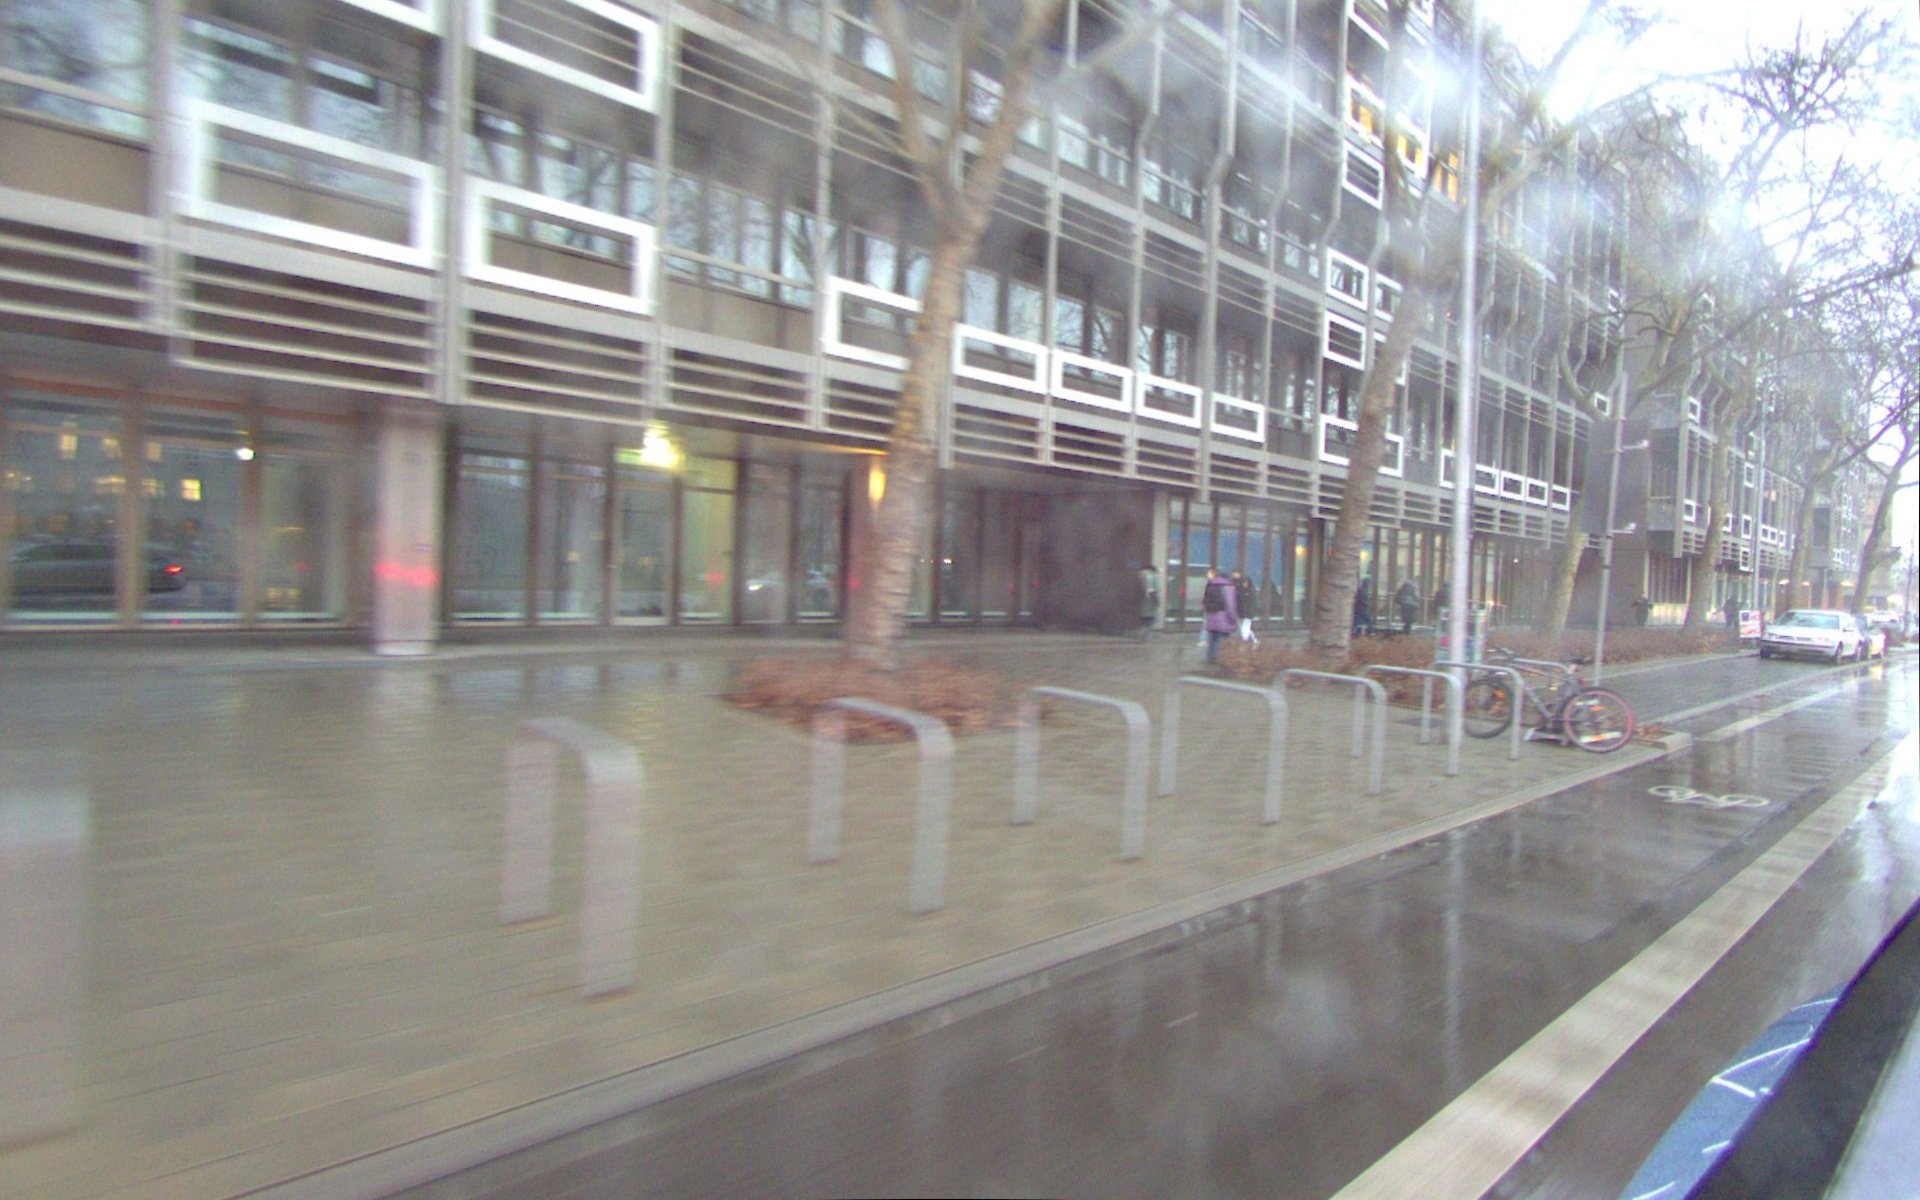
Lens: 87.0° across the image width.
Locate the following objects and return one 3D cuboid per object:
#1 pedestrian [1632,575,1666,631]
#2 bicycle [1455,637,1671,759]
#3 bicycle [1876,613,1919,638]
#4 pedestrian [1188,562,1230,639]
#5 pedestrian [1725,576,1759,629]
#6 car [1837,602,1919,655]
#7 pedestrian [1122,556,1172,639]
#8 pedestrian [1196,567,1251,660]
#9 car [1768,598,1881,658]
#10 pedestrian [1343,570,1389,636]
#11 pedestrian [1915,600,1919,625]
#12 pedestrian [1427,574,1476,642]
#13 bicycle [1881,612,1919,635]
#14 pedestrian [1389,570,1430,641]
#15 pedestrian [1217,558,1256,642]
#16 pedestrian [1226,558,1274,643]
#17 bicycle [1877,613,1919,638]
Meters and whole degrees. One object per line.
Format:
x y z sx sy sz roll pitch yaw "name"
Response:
25.719 0.119 37.780 0.723 2.038 0.821 1 1 -42 "pedestrian"
6.212 0.964 10.512 0.607 0.986 1.789 1 3 -44 "bicycle"
42.921 1.159 46.297 1.518 1.049 0.462 1 1 43 "bicycle"
5.243 0.015 21.275 0.732 1.583 0.484 1 1 -41 "pedestrian"
30.974 0.090 40.079 1.006 2.038 0.790 1 1 -40 "pedestrian"
30.230 0.893 33.074 3.948 1.567 1.763 1 2 -41 "car"
3.897 -0.064 21.091 0.766 1.677 0.617 1 1 -40 "pedestrian"
4.563 0.216 17.513 0.604 1.563 0.649 1 1 -39 "pedestrian"
24.288 0.746 28.387 3.858 1.449 1.609 0 4 -38 "car"
10.494 0.065 26.174 0.825 1.675 0.643 1 1 -22 "pedestrian"
80.347 1.065 84.436 0.758 2.039 0.837 0 0 -41 "pedestrian"
11.520 0.171 23.709 0.861 1.543 0.827 3 1 35 "pedestrian"
44.955 1.117 48.245 1.518 1.049 0.462 1 1 43 "bicycle"
11.284 0.134 25.403 0.829 1.739 0.659 1 1 -45 "pedestrian"
5.712 -0.003 20.900 0.701 1.688 0.379 1 1 -40 "pedestrian"
5.870 0.004 20.484 0.857 1.688 0.501 1 1 -40 "pedestrian"
41.990 1.147 45.223 1.518 1.049 0.462 1 1 43 "bicycle"
